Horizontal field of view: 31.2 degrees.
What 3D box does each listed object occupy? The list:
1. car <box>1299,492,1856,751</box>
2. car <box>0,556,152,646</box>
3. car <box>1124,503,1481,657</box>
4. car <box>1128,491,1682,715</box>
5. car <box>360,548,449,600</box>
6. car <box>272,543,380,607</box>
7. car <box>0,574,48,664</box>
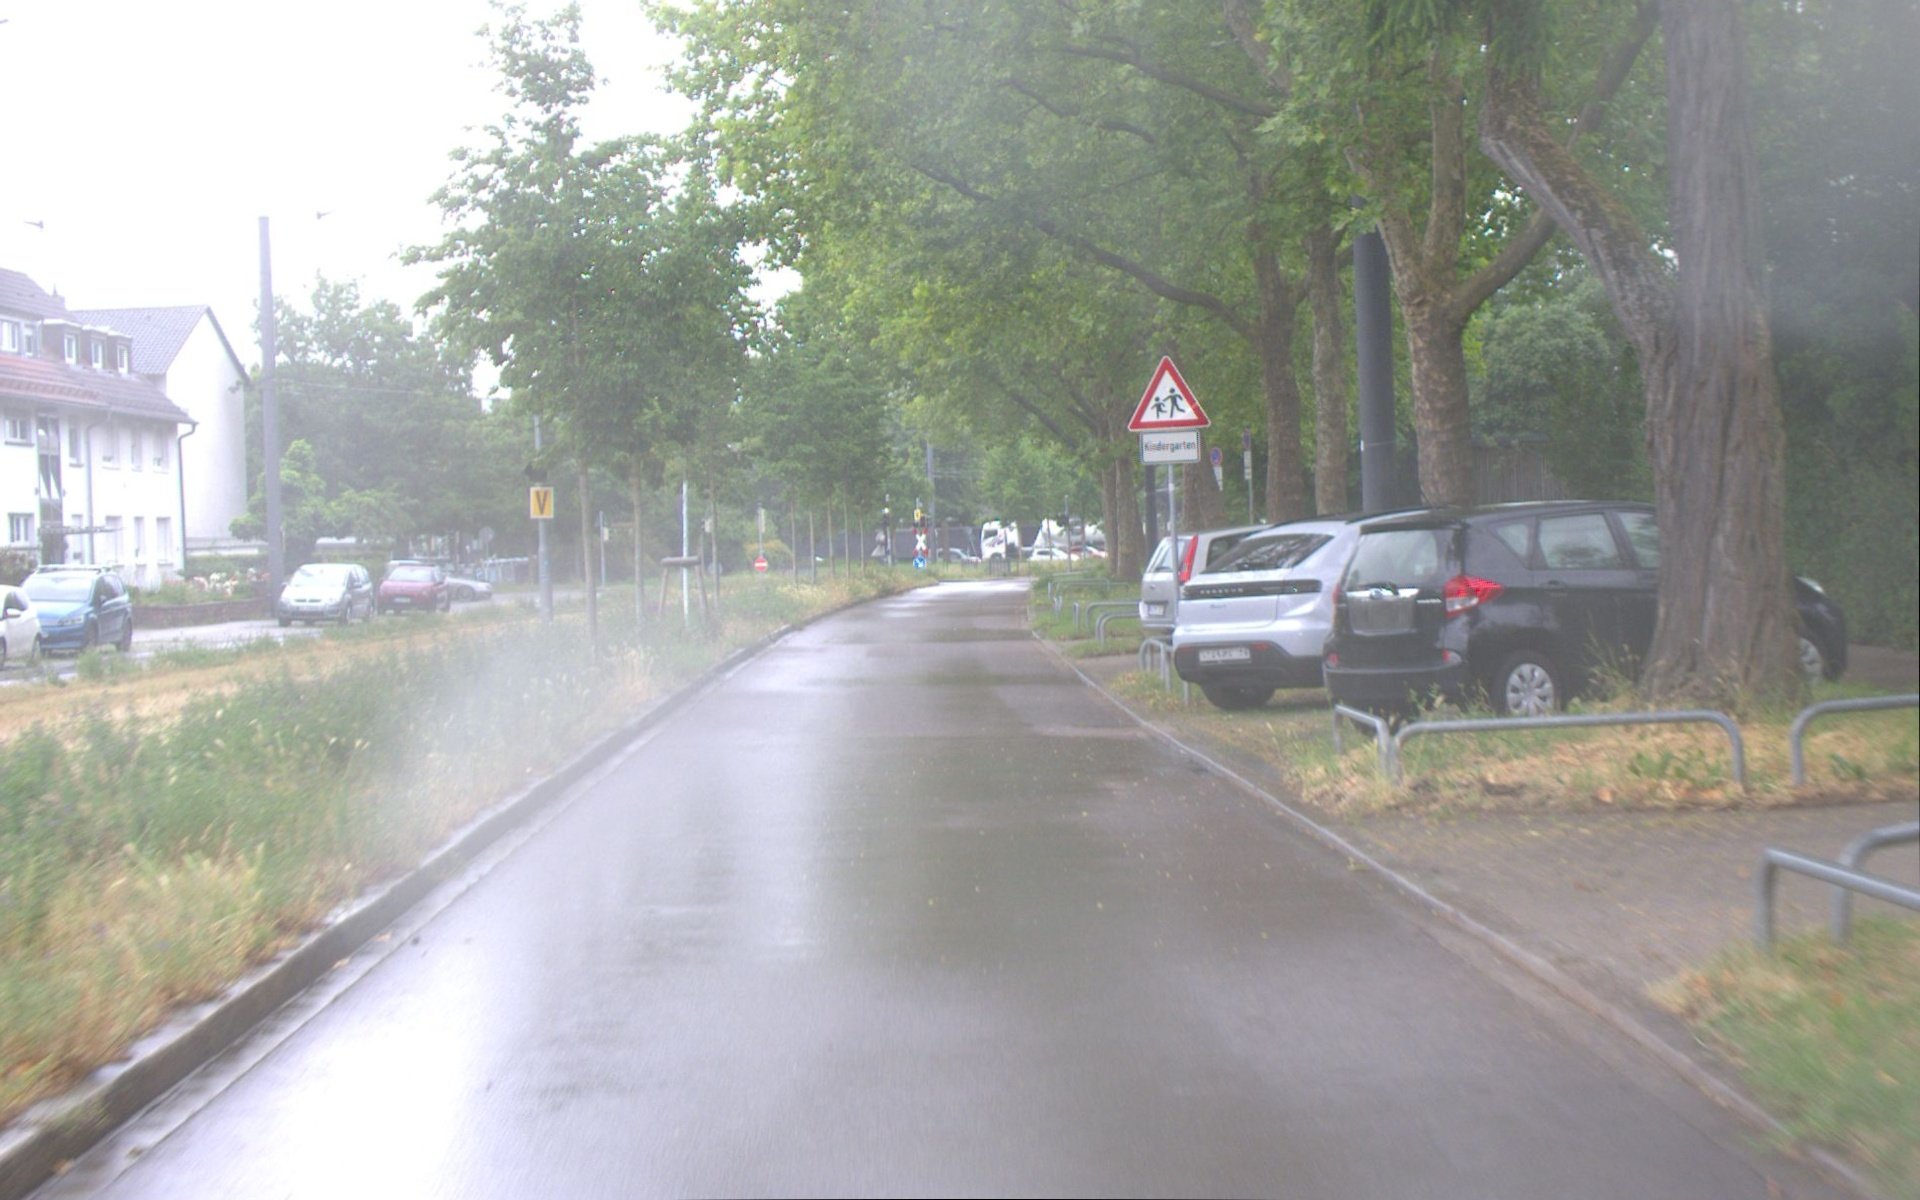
[{"bbox_3d":[4.382,0.115,24.245,3.703,1.561,1.619,-4,2,-33],"label":"car"},{"bbox_3d":[-17.237,-0.007,66.789,1.993,1.608,4.413,0,2,0],"label":"car"},{"bbox_3d":[4.100,-0.259,41.308,3.854,1.561,1.620,-4,2,-14],"label":"car"},{"bbox_3d":[3.984,-0.008,30.383,4.761,1.662,1.994,-4,2,-37],"label":"car"},{"bbox_3d":[-16.858,-0.804,104.568,1.993,1.483,4.206,0,2,0],"label":"car"},{"bbox_3d":[-16.695,-0.686,90.694,1.993,1.575,4.517,0,2,0],"label":"car"},{"bbox_3d":[-17.366,0.325,60.211,1.796,1.483,3.597,0,2,0],"label":"car"}]
